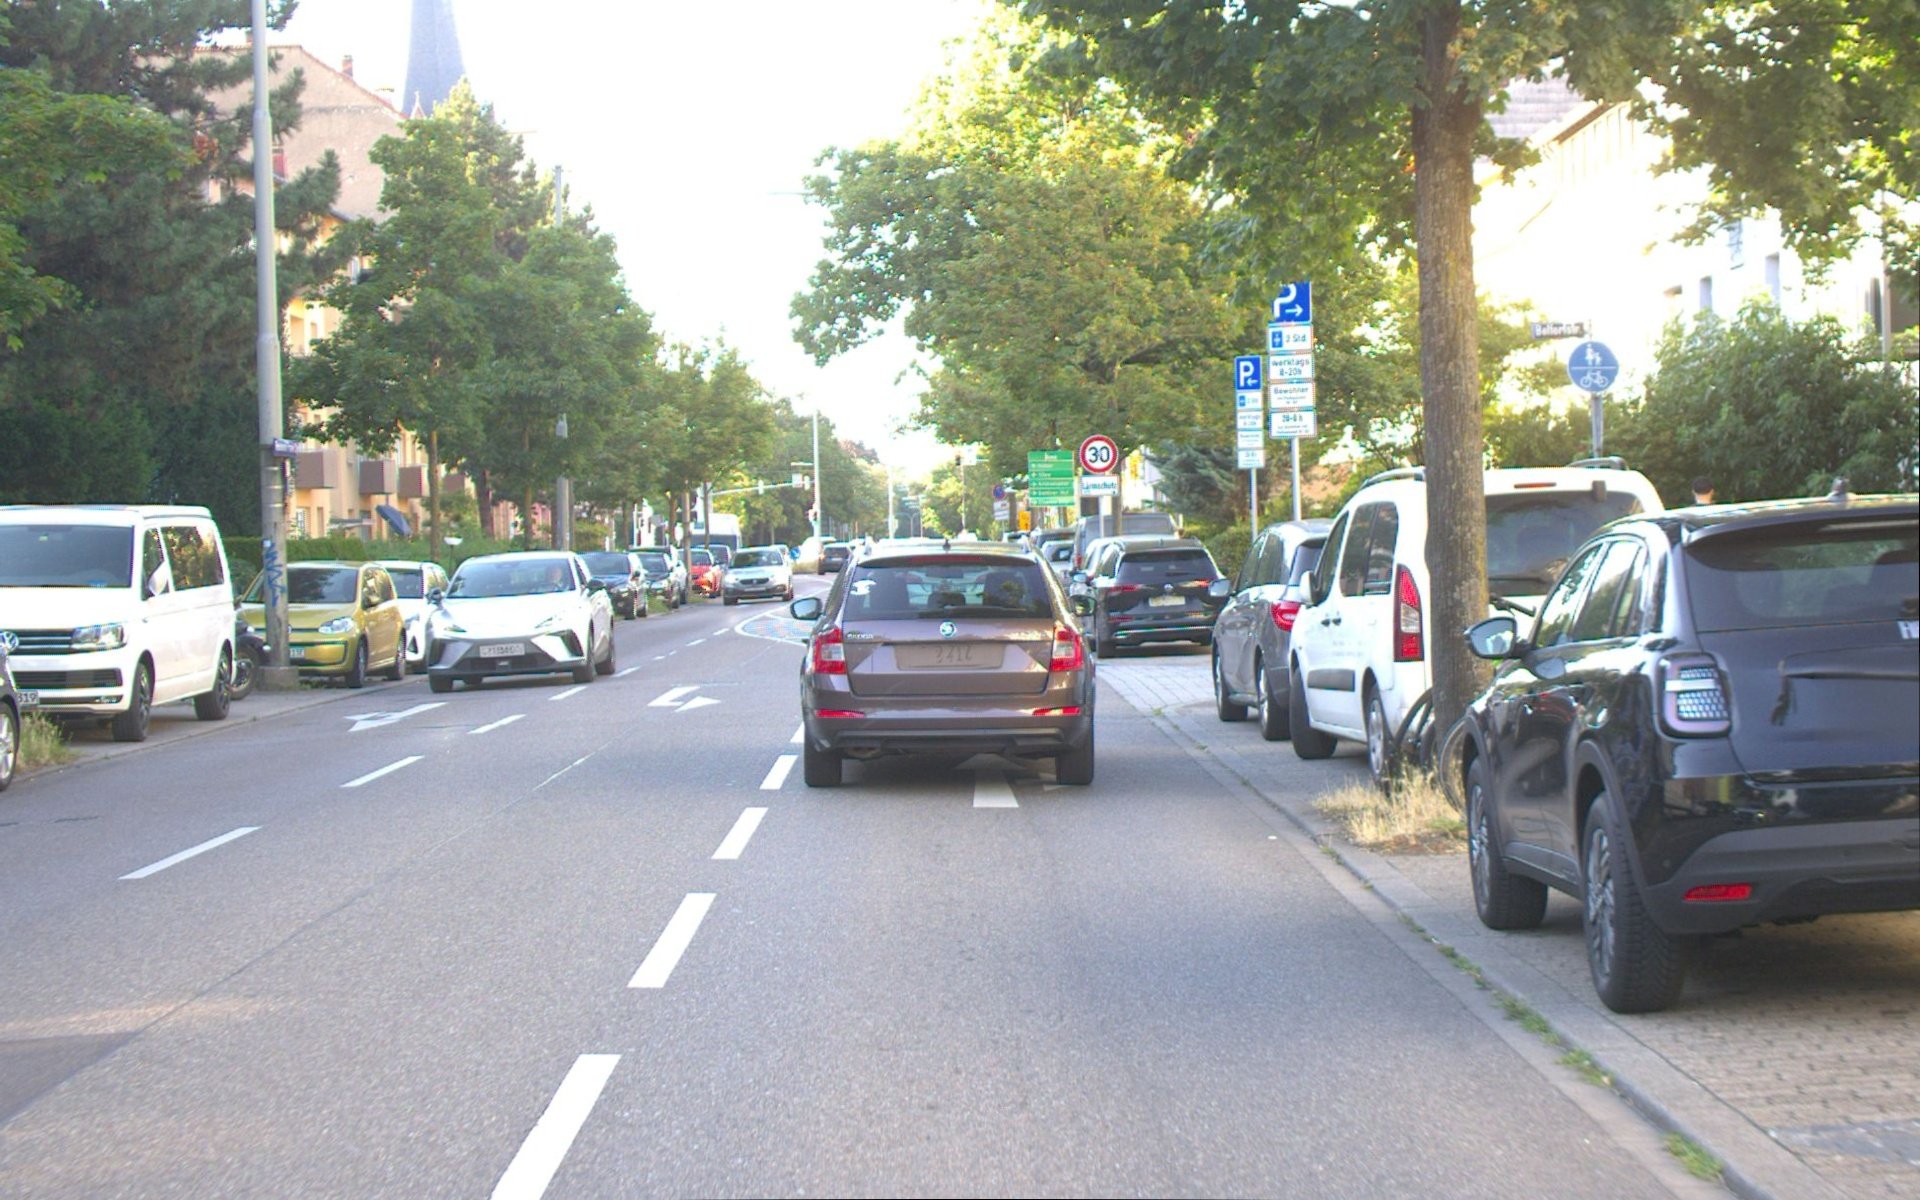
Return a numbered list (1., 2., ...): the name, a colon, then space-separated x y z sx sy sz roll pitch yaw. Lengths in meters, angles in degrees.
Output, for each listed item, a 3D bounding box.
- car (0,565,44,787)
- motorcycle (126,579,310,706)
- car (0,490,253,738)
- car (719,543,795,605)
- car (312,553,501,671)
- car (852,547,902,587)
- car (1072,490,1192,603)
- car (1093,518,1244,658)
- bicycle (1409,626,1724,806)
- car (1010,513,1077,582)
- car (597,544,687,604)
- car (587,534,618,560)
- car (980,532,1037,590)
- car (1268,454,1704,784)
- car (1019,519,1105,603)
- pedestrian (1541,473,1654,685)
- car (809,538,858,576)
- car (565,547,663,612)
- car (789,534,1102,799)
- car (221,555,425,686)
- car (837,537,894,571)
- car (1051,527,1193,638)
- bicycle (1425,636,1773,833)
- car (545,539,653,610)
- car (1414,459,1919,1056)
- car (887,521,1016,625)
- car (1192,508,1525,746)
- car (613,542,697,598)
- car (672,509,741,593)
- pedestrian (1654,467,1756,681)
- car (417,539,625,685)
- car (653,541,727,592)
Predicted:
1. car: -7.356 0.554 22.068 1.692 1.478 4.143 -1 1 2
2. motorcycle: -7.688 0.424 35.736 0.659 1.200 2.330 -2 2 21
3. car: -7.784 0.070 30.786 1.868 2.024 5.301 0 1 -1
4. car: -5.402 -0.717 91.952 1.739 1.474 4.310 -4 1 -1
5. car: -7.362 0.122 46.065 1.781 1.489 3.971 0 1 2
6. car: -3.223 -1.278 132.712 1.781 1.475 3.971 0 1 -3
7. car: 2.967 -0.945 60.270 1.916 1.854 5.633 -1 1 1
8. car: 2.614 -0.185 43.793 1.754 1.680 4.252 0 1 1
9. bicycle: 3.150 0.596 17.873 1.552 0.866 0.393 -2 1 -9
10. car: 2.220 -1.412 91.564 1.754 1.799 4.000 0 1 1
11. car: -7.990 -0.672 86.745 1.781 1.475 3.971 0 1 2
12. car: -25.263 -3.748 243.063 1.993 1.744 4.001 -2 1 -8
13. car: 1.508 -1.255 108.666 1.754 1.799 4.000 0 1 0
14. car: 3.080 0.063 21.034 1.800 1.802 4.424 0 1 -2
15. car: 2.136 -0.837 72.652 1.754 1.709 4.000 0 1 1
16. pedestrian: 5.743 -0.194 31.023 0.749 1.854 1.068 -2 1 -1
17. car: -5.986 -2.035 162.257 1.993 1.744 4.001 -2 1 -5
18. car: -8.053 -0.497 80.307 1.781 1.475 3.971 0 1 2
19. car: -0.035 0.335 21.333 1.754 1.487 4.000 0 1 1
20. car: -7.598 0.205 41.325 1.619 1.475 3.871 0 1 2
21. car: -5.153 -2.481 186.431 1.993 1.744 4.001 -2 1 -18
22. car: 2.320 -0.273 50.039 1.754 1.551 4.105 0 1 -2
23. bicycle: 3.016 0.630 16.278 1.552 0.866 0.393 -2 1 -3
24. car: -7.771 -0.574 74.225 1.781 1.475 4.033 0 1 2
25. car: 2.708 0.391 11.854 1.754 1.657 4.252 -2 1 1
26. car: -0.152 -0.414 53.961 1.892 1.501 3.790 2 0 -1
27. car: 2.892 0.142 25.794 1.754 1.551 4.253 -3 1 -3
28. car: -8.172 -0.822 92.442 1.781 1.475 3.971 0 1 2
29. car: -8.486 -1.657 115.472 1.991 2.771 5.504 0 1 -1
30. pedestrian: 6.628 -0.240 30.628 0.799 1.854 0.950 -2 1 11
31. car: -4.940 0.093 39.152 1.781 1.489 3.971 -3 1 0
32. car: -8.062 -1.025 102.913 1.781 1.475 3.971 0 1 2
